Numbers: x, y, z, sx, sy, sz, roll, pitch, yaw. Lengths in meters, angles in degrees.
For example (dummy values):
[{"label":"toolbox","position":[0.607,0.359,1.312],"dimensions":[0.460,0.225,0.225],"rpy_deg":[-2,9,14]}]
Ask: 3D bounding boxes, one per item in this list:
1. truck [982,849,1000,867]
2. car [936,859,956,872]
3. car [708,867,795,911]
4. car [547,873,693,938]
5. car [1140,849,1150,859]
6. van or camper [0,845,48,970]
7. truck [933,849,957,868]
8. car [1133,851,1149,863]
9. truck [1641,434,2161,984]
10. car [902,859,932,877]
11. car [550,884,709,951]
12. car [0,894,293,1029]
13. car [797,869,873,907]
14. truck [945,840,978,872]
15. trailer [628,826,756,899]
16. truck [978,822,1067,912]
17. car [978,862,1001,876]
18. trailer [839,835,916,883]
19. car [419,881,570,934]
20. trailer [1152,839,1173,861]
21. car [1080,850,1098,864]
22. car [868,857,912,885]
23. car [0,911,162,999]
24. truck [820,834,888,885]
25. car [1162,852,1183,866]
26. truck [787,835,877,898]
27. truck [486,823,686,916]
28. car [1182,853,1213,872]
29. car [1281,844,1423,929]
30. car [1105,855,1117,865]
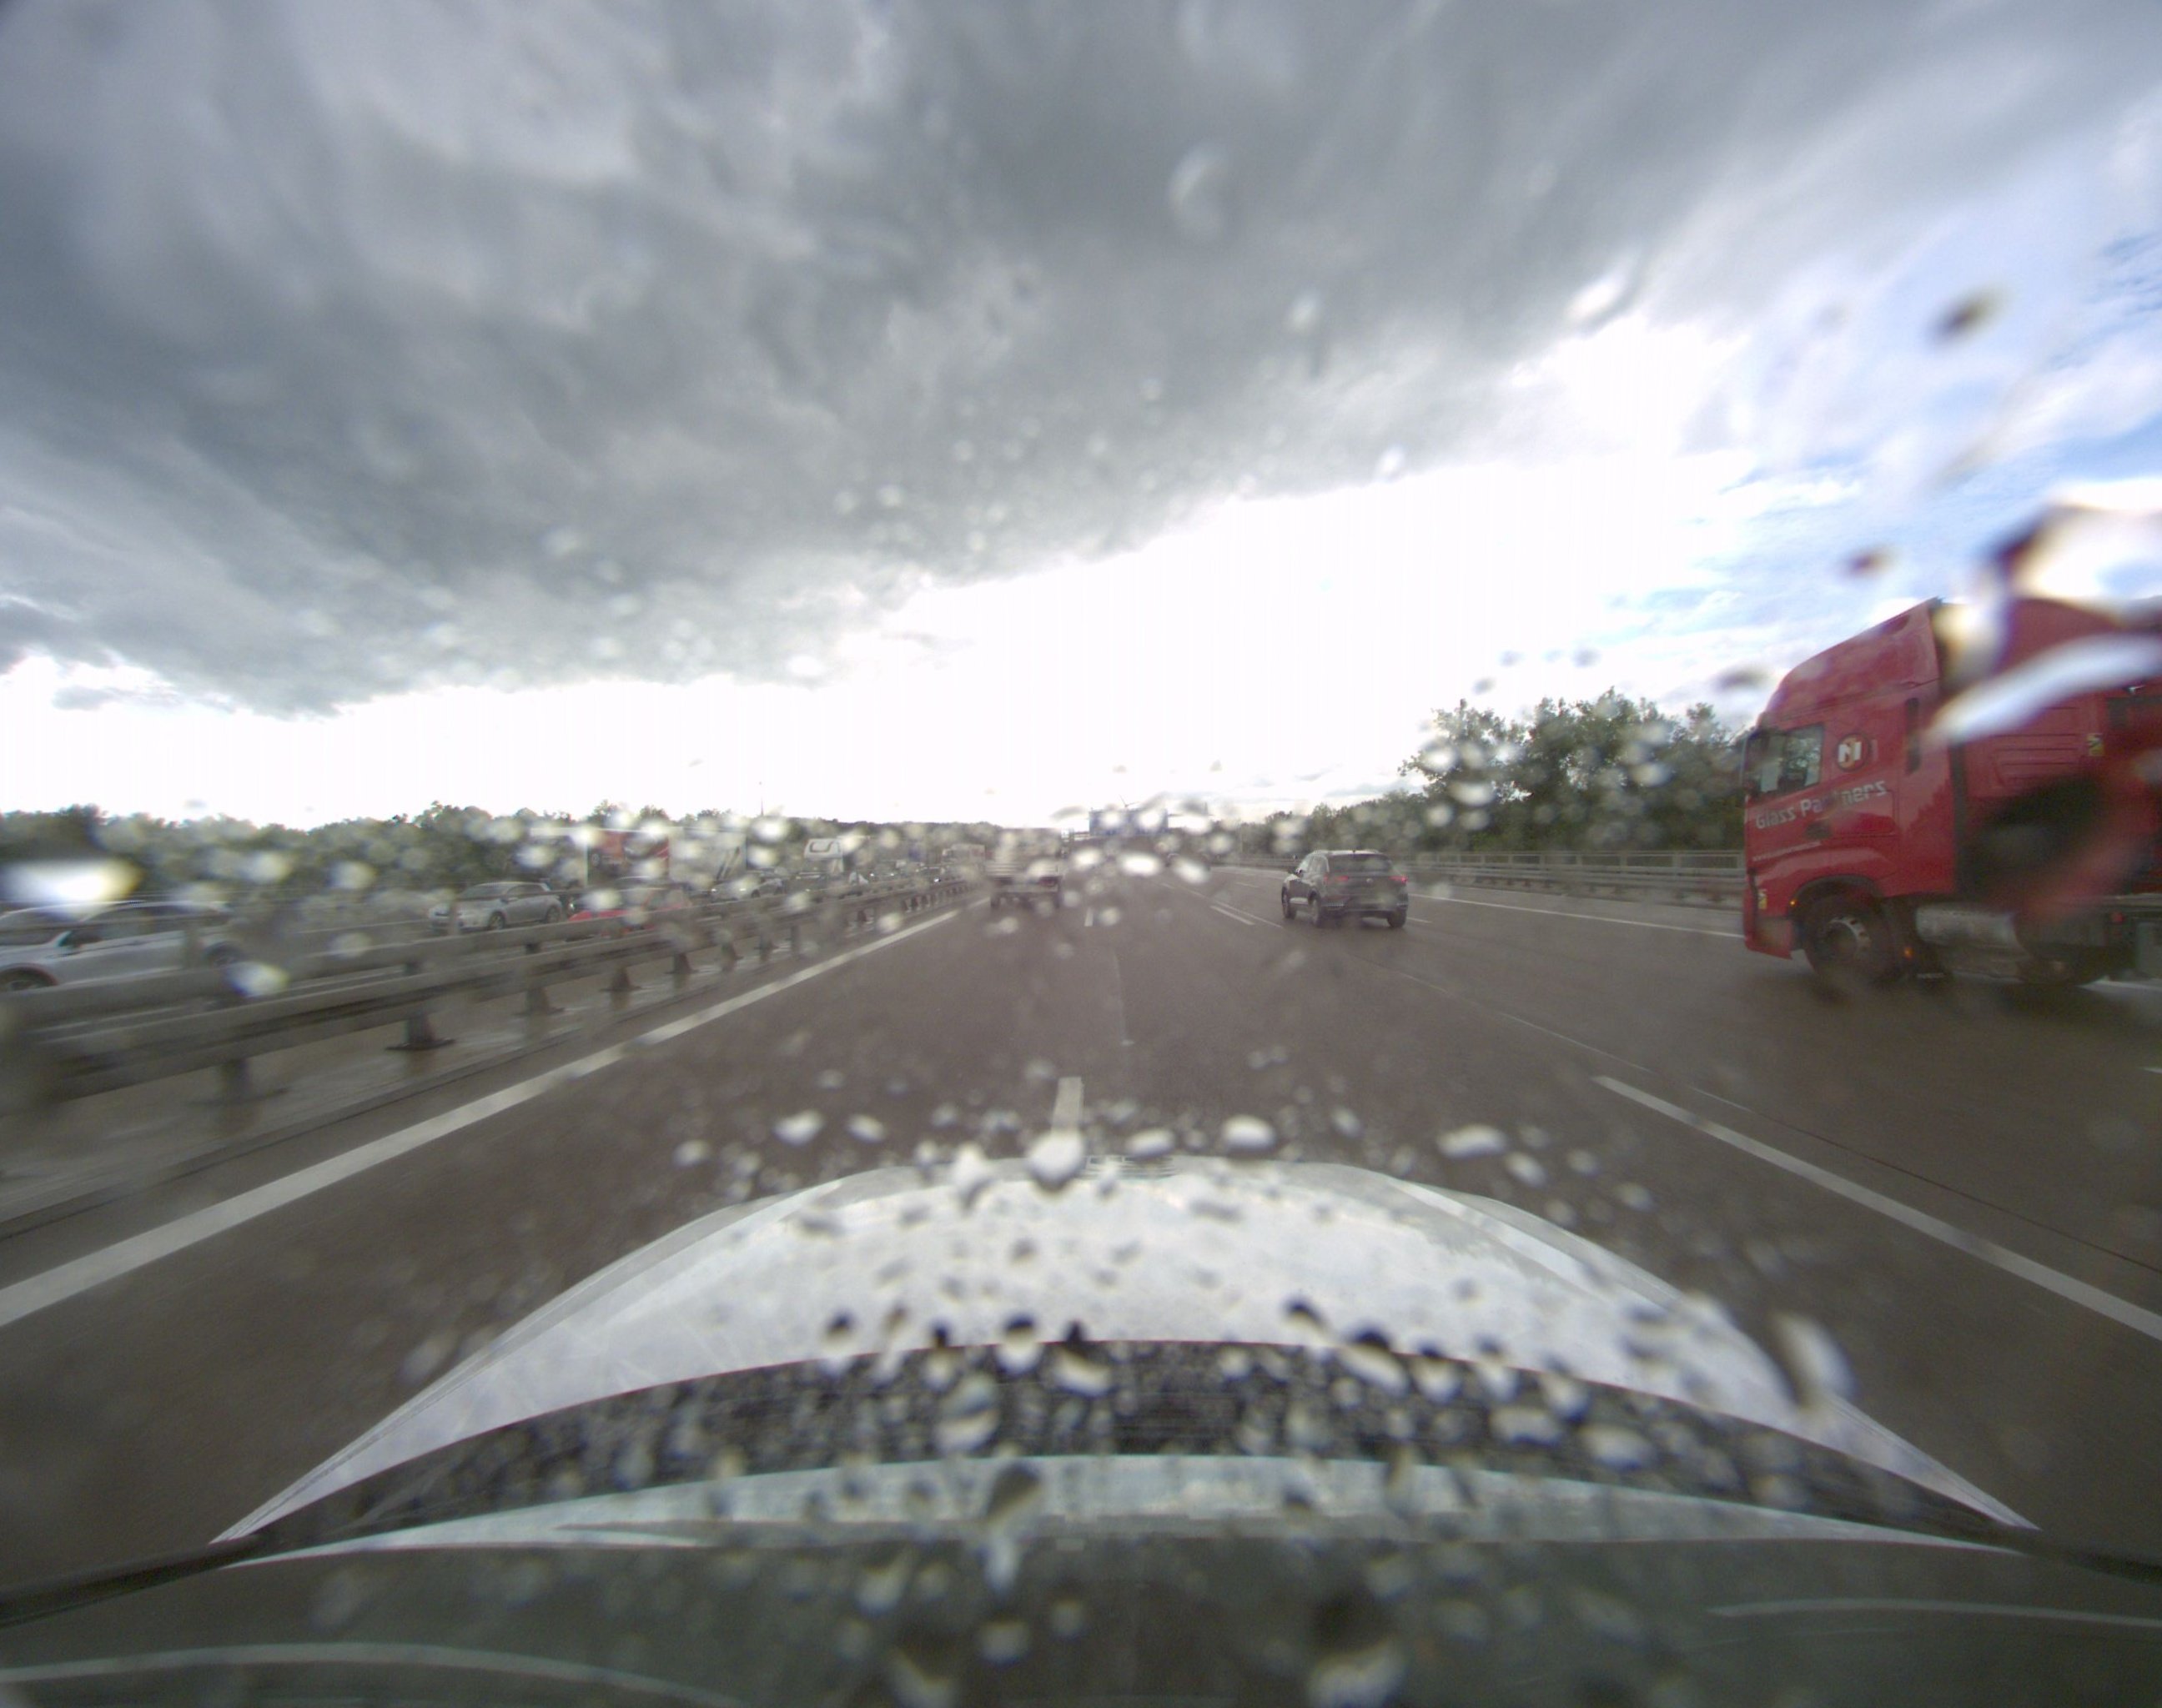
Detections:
[{"label":"truck","position":[-18.006,0.744,163.272],"dimensions":[2.455,3.536,7.810],"rpy_deg":[-2,0,1]},{"label":"car","position":[-16.864,1.453,102.131],"dimensions":[1.639,1.545,4.002],"rpy_deg":[-2,0,2]},{"label":"car","position":[-15.030,1.548,37.466],"dimensions":[1.713,1.699,5.057],"rpy_deg":[-2,0,2]},{"label":"car","position":[-14.994,1.600,26.894],"dimensions":[1.713,1.728,5.106],"rpy_deg":[-2,0,2]},{"label":"car","position":[15.175,-0.005,192.711],"dimensions":[2.037,2.498,4.002],"rpy_deg":[-1,0,2]},{"label":"van or camper","position":[-23.423,1.133,13.839],"dimensions":[2.236,2.578,7.364],"rpy_deg":[-2,0,1]},{"label":"truck","position":[-21.991,0.680,132.147],"dimensions":[2.508,2.986,7.022],"rpy_deg":[-2,0,1]},{"label":"car","position":[8.979,0.433,121.893],"dimensions":[2.091,1.699,3.998],"rpy_deg":[-1,0,-1]},{"label":"truck","position":[9.411,-1.064,3.728],"dimensions":[3.141,4.003,15.639],"rpy_deg":[-1,0,1]},{"label":"car","position":[-17.411,1.454,86.629],"dimensions":[1.960,1.747,4.577],"rpy_deg":[-2,0,2]},{"label":"car","position":[-11.628,1.582,21.342],"dimensions":[1.567,1.354,4.386],"rpy_deg":[-2,0,2]},{"label":"car","position":[-15.510,1.580,12.726],"dimensions":[1.758,1.624,4.778],"rpy_deg":[-2,0,-1]},{"label":"car","position":[-11.527,1.559,38.515],"dimensions":[1.713,1.502,5.505],"rpy_deg":[-2,0,2]},{"label":"truck","position":[-16.801,0.232,114.720],"dimensions":[3.166,4.194,7.740],"rpy_deg":[-2,0,1]},{"label":"trailer","position":[-23.198,0.467,49.304],"dimensions":[3.207,3.959,8.854],"rpy_deg":[-1,0,2]},{"label":"truck","position":[-1.616,0.331,25.422],"dimensions":[2.346,2.408,7.354],"rpy_deg":[0,0,-1]},{"label":"car","position":[-9.884,1.569,88.083],"dimensions":[1.713,1.354,4.627],"rpy_deg":[-2,0,2]},{"label":"trailer","position":[-18.049,0.421,73.420],"dimensions":[3.231,3.933,13.021],"rpy_deg":[-1,0,2]},{"label":"car","position":[-18.636,1.659,26.142],"dimensions":[1.662,1.354,4.220],"rpy_deg":[-2,0,2]},{"label":"trailer","position":[15.891,-0.735,159.677],"dimensions":[3.319,4.176,11.845],"rpy_deg":[-1,0,2]},{"label":"car","position":[0.977,0.337,98.459],"dimensions":[2.037,1.699,4.002],"rpy_deg":[-1,0,2]},{"label":"car","position":[-14.875,1.279,63.749],"dimensions":[1.814,2.052,5.677],"rpy_deg":[-2,0,2]},{"label":"car","position":[-19.251,1.830,14.591],"dimensions":[1.567,1.333,3.433],"rpy_deg":[-2,0,2]},{"label":"truck","position":[-18.359,0.421,66.506],"dimensions":[3.187,3.933,7.577],"rpy_deg":[-1,0,2]},{"label":"car","position":[11.336,0.594,101.267],"dimensions":[2.039,1.699,5.004],"rpy_deg":[-1,0,-1]},{"label":"truck","position":[-14.901,0.697,49.553],"dimensions":[2.510,3.399,8.544],"rpy_deg":[-2,0,2]},{"label":"truck","position":[-23.515,0.646,39.728],"dimensions":[3.213,3.910,10.285],"rpy_deg":[-1,0,2]},{"label":"car","position":[10.903,0.772,76.677],"dimensions":[2.099,1.605,5.063],"rpy_deg":[-1,0,-1]},{"label":"car","position":[5.549,0.618,17.160],"dimensions":[1.786,1.562,3.722],"rpy_deg":[-1,0,1]},{"label":"car","position":[5.182,0.973,140.128],"dimensions":[2.037,1.699,4.002],"rpy_deg":[-1,0,2]}]
